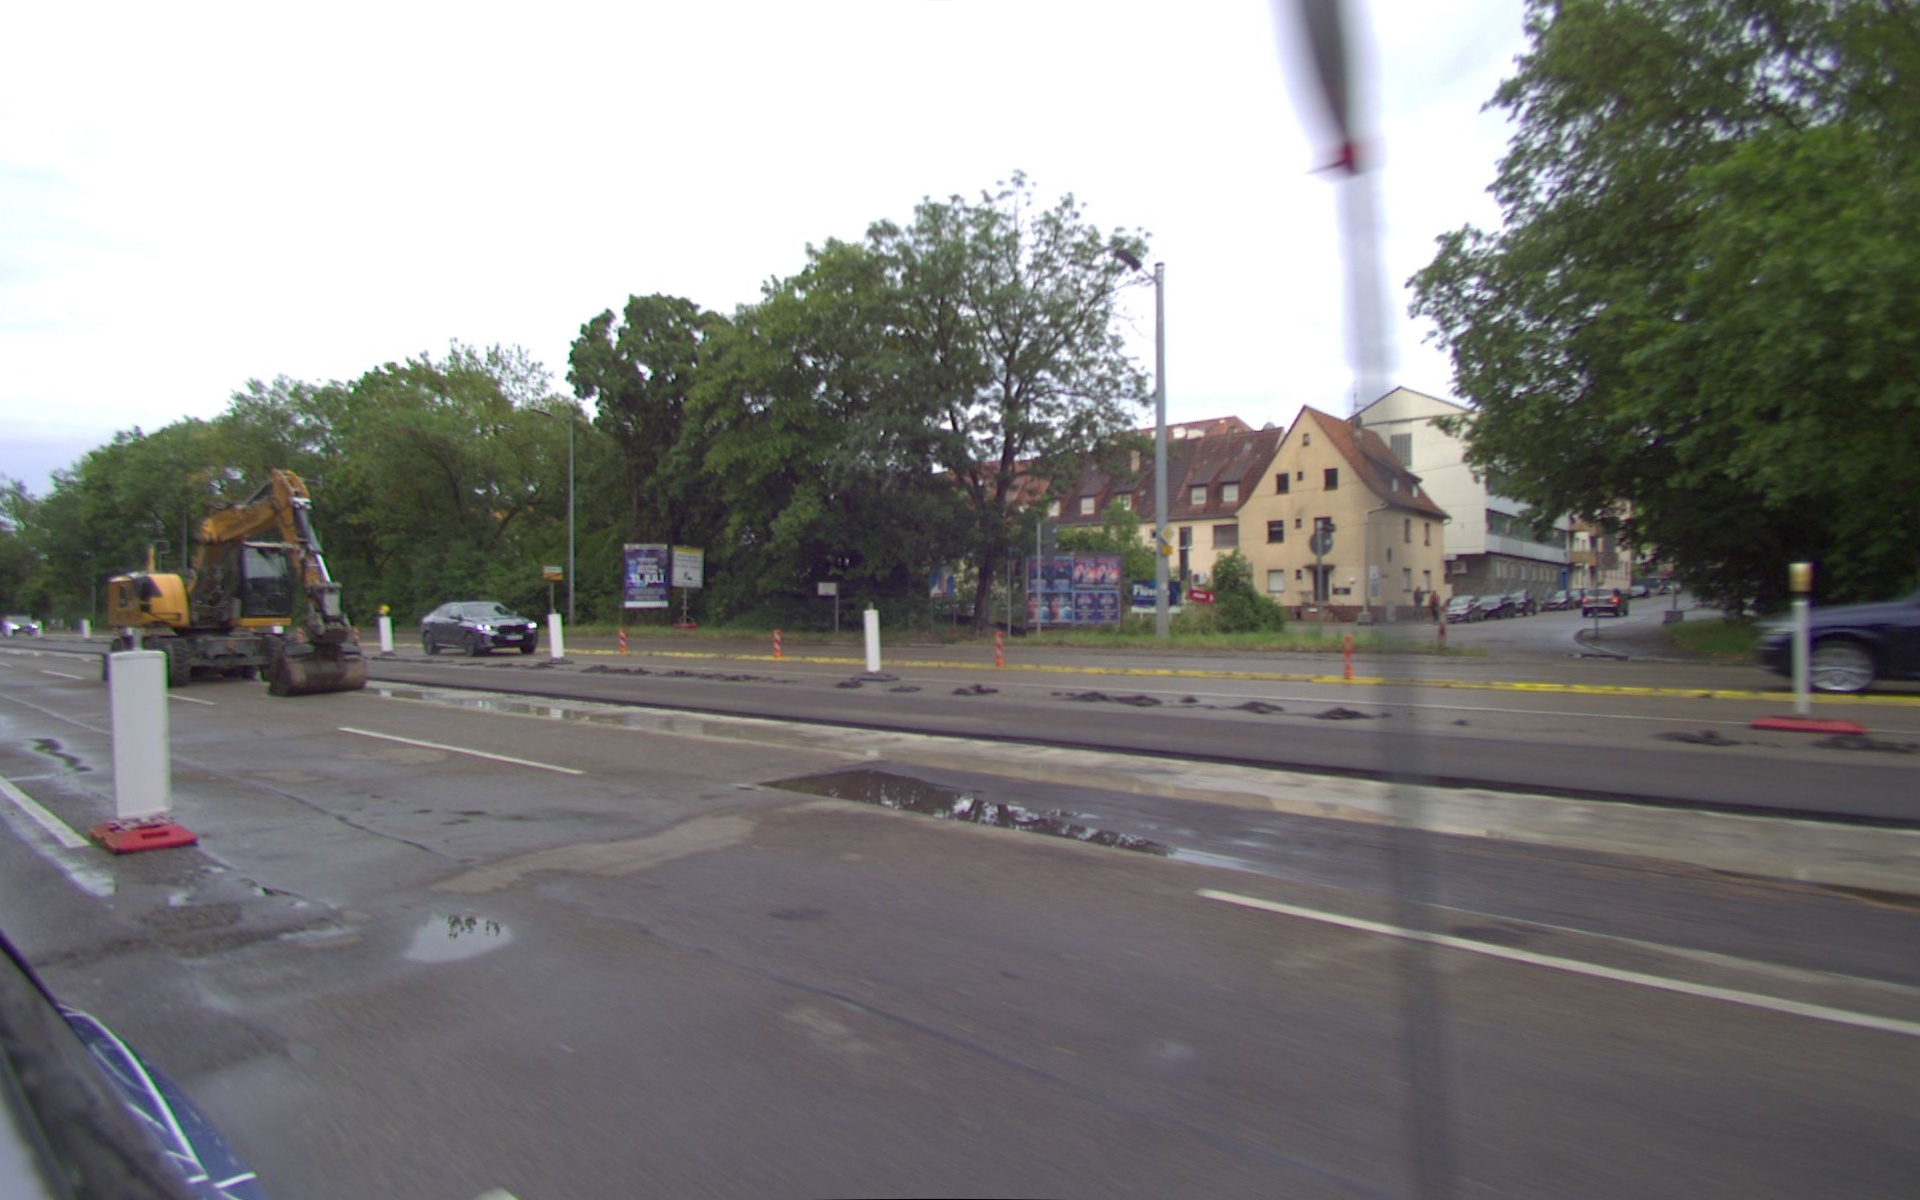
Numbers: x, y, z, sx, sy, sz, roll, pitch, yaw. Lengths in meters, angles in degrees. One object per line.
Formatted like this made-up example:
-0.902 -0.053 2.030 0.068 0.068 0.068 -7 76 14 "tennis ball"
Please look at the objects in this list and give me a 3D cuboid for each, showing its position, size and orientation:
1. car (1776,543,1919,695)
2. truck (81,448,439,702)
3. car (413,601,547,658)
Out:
12.867 0.215 12.191 4.607 1.819 1.950 -1 -1 42 "car"
-15.196 -0.332 21.444 10.735 4.291 2.871 -2 0 37 "truck"
-15.150 0.908 31.847 4.808 1.641 1.974 -1 0 40 "car"
